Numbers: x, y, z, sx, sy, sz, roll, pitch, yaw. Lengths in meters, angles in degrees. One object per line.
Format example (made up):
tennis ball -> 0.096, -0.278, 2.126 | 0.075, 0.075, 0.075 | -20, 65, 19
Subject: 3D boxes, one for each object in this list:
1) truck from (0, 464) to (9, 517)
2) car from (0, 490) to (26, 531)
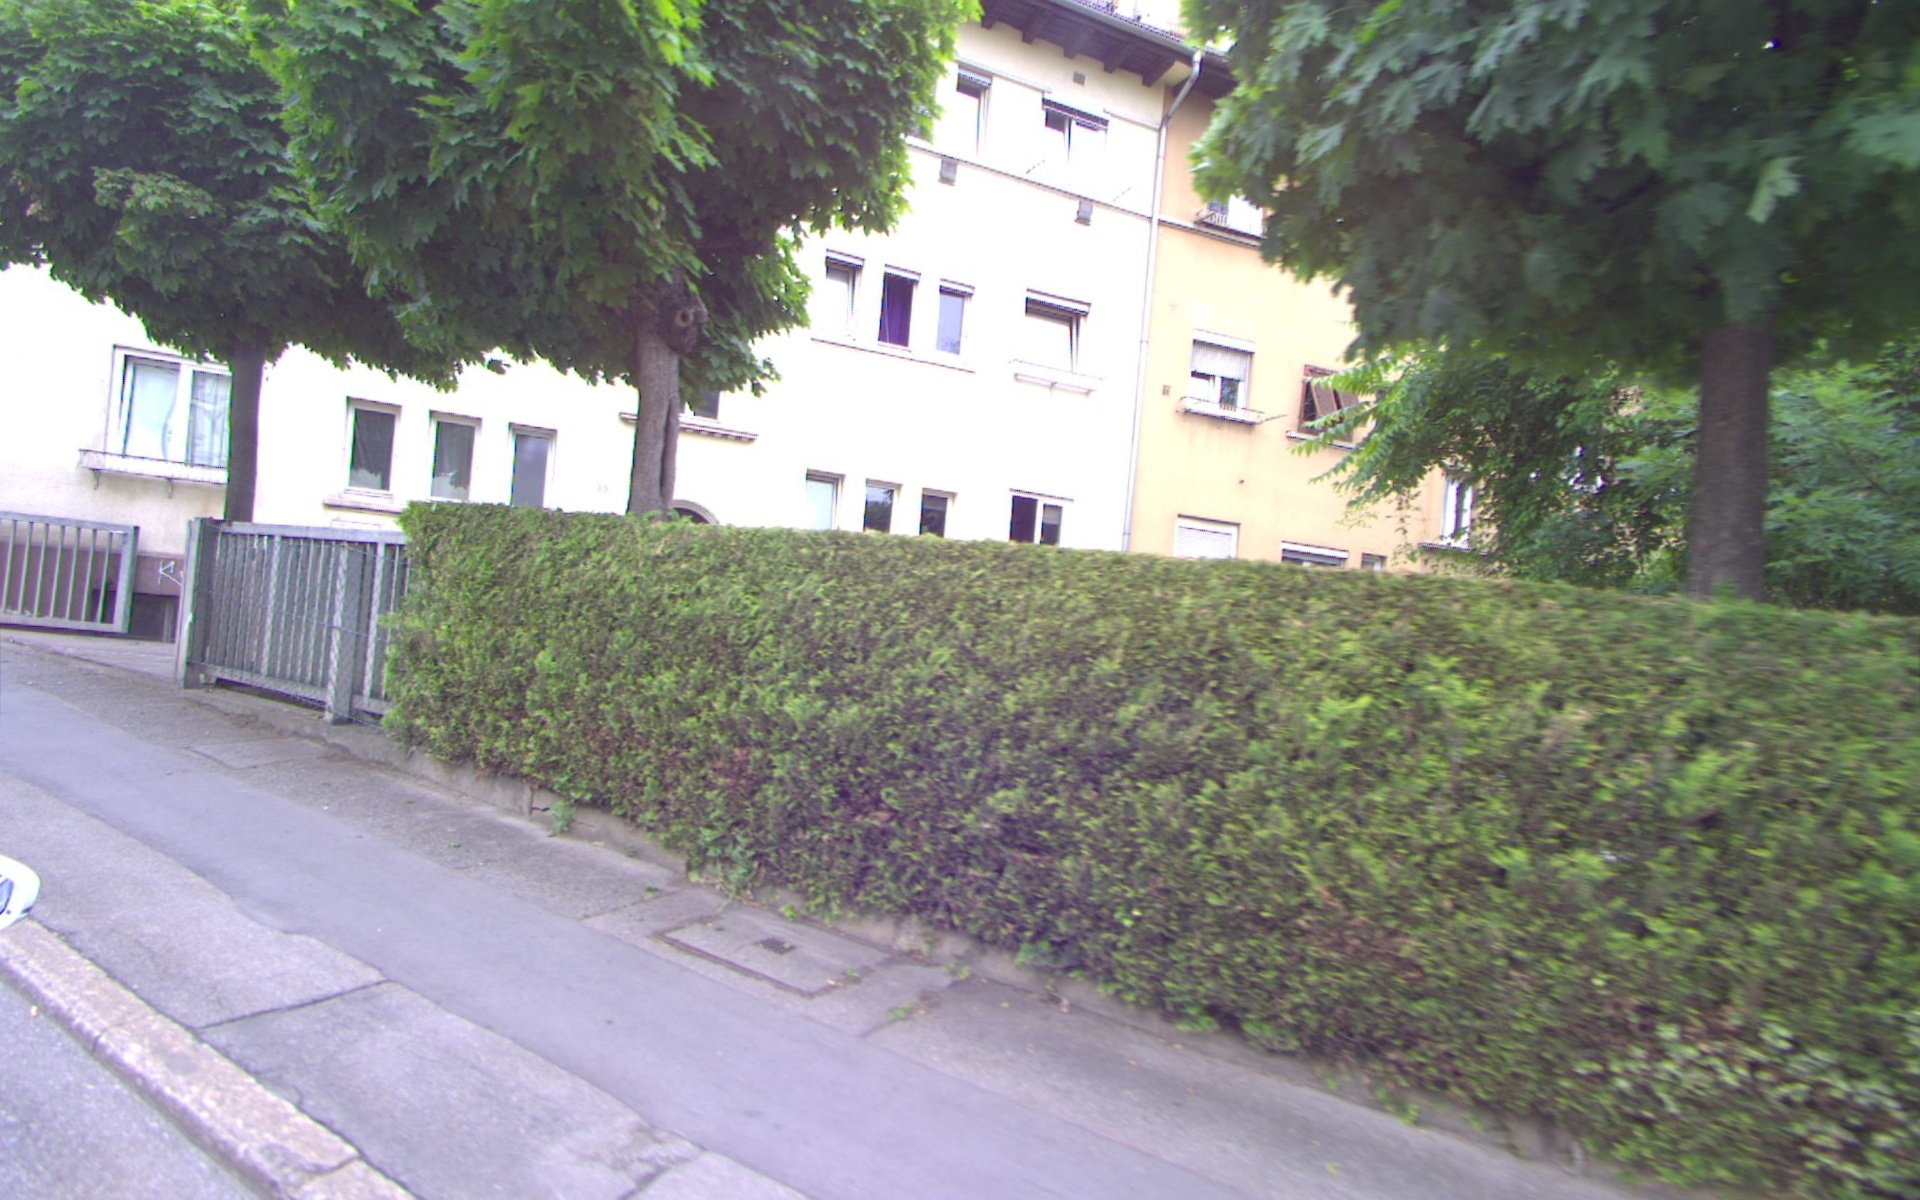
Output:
truck -> -62.484, -7.328, 60.907 | 2.838, 3.378, 8.773 | 8, -2, -14
car -> -43.686, -4.143, 45.298 | 3.946, 1.704, 1.990 | 6, -1, 42
